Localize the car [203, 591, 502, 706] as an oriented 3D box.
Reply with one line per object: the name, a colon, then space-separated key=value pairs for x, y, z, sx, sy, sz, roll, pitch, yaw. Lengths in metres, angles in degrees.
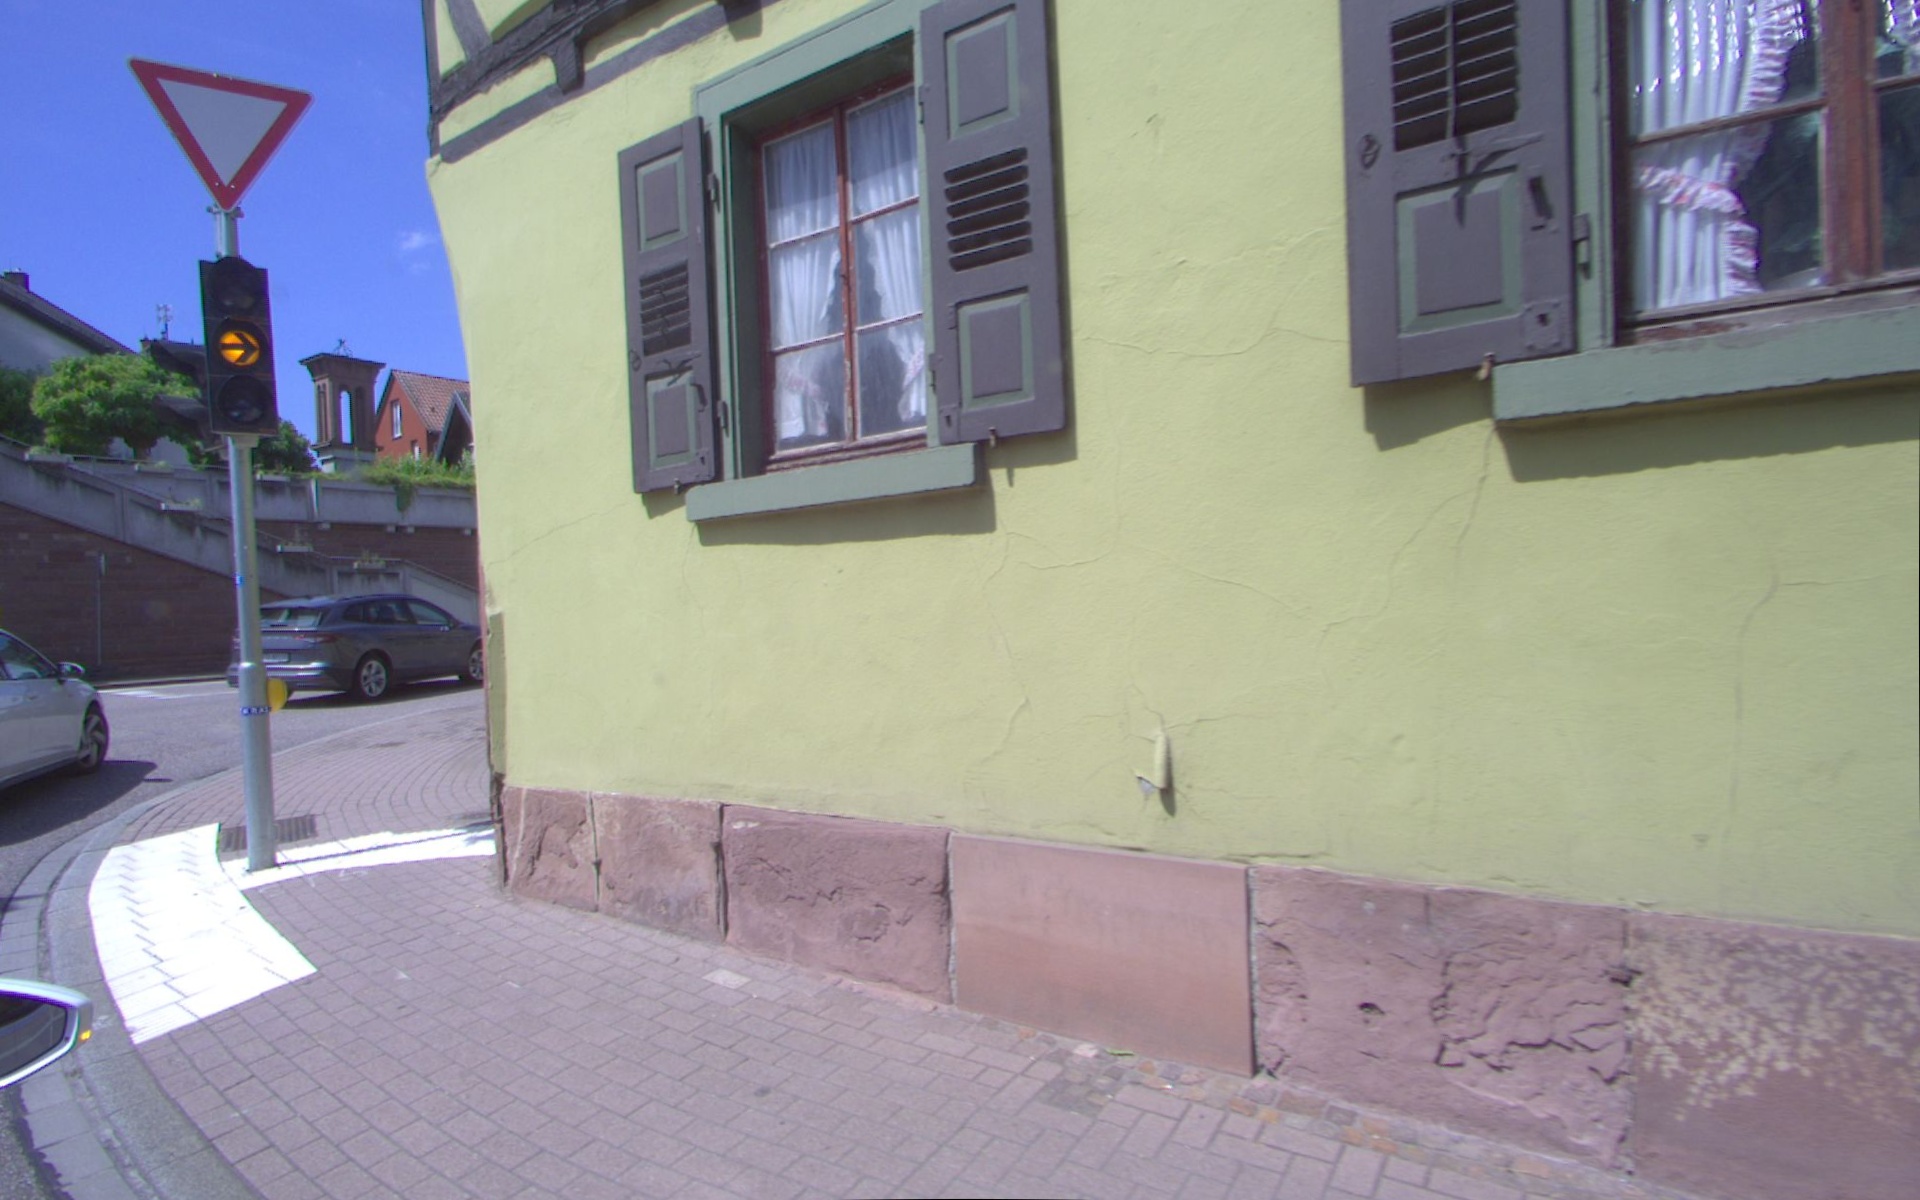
car: x=-9.521 y=0.659 z=16.206 sx=1.917 sy=1.604 sz=4.324 roll=0 pitch=1 yaw=6

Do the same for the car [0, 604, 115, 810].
car: x=-8.044 y=0.791 z=7.490 sx=1.761 sy=1.477 sz=3.846 roll=-1 pitch=0 yaw=-27

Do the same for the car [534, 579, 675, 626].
car: x=-17.202 y=0.084 z=48.746 sx=2.497 sy=2.040 sz=5.944 roll=-3 pitch=0 yaw=41

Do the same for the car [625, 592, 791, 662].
car: x=-5.790 y=0.585 z=23.462 sx=1.759 sy=1.477 sz=3.851 roll=-1 pitch=0 yaw=23
